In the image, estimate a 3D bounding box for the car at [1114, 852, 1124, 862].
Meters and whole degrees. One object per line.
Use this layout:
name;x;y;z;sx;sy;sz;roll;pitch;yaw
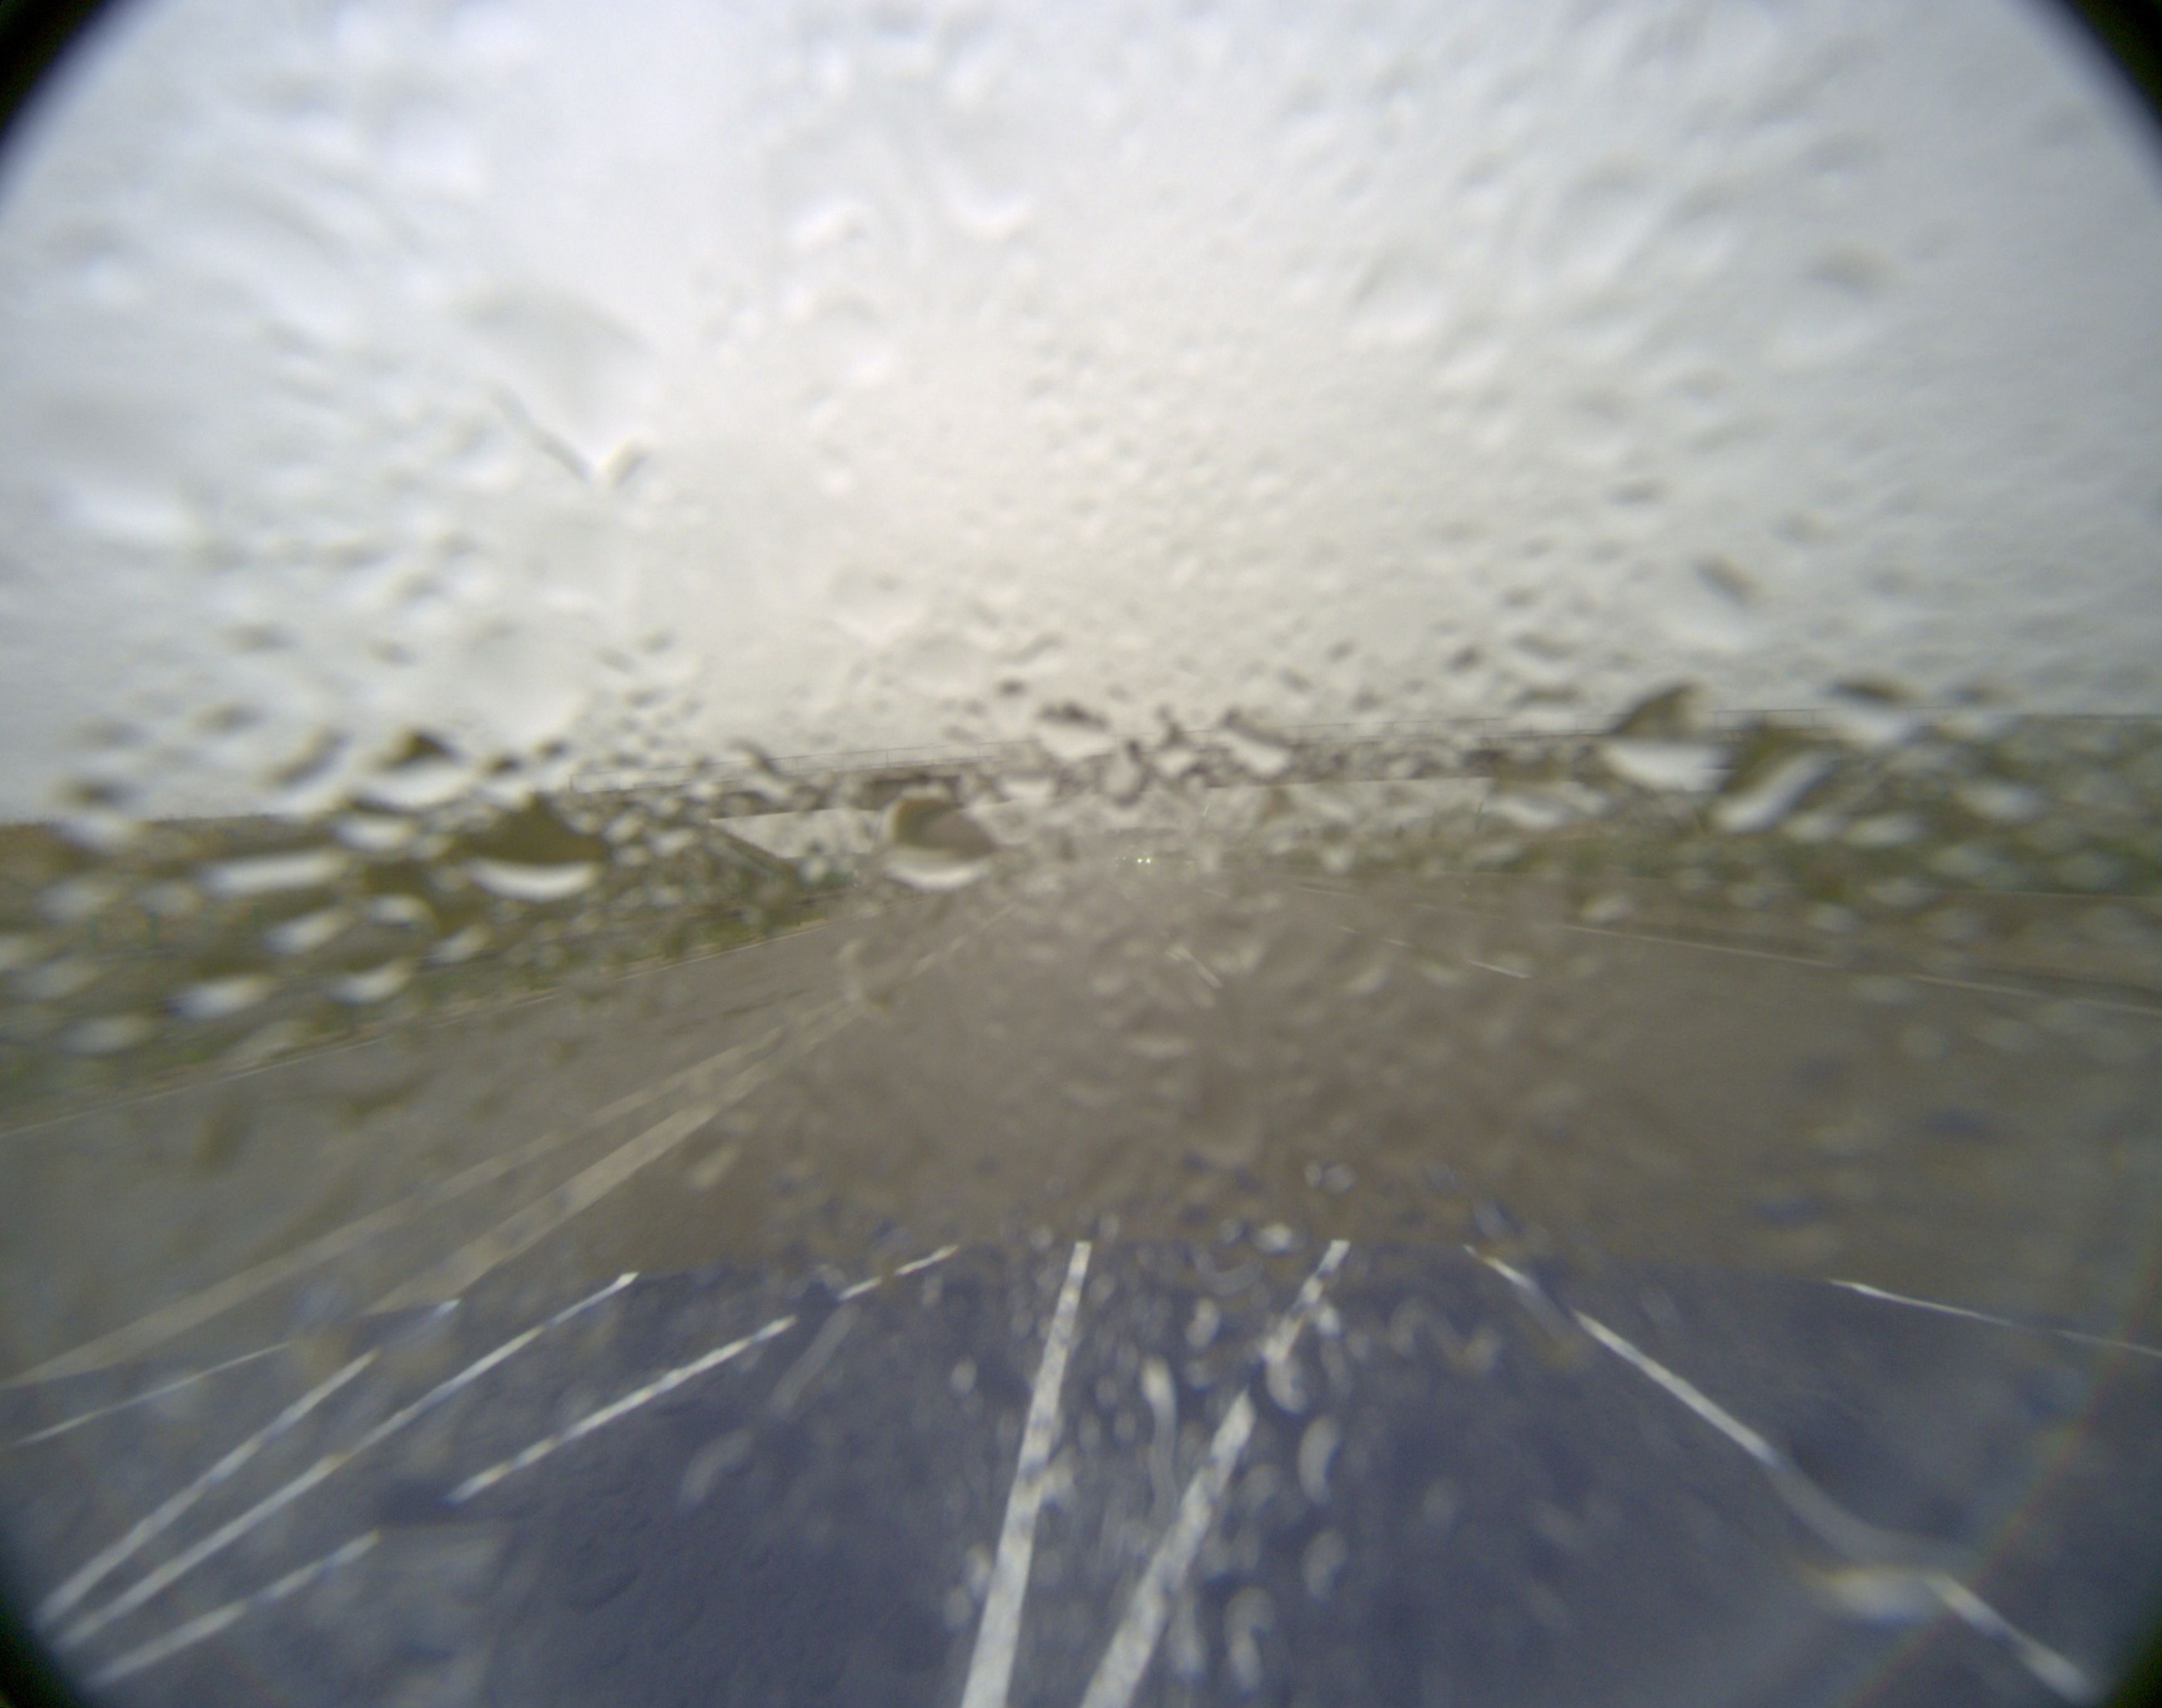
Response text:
car;6.673;0.552;133.237;1.701;1.543;3.733;-3;1;2

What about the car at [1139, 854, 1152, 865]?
car;9.535;0.794;112.680;1.700;1.543;3.734;-3;1;3

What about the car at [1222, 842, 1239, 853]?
car;21.563;-0.968;109.533;1.649;1.543;4.146;-3;1;1
